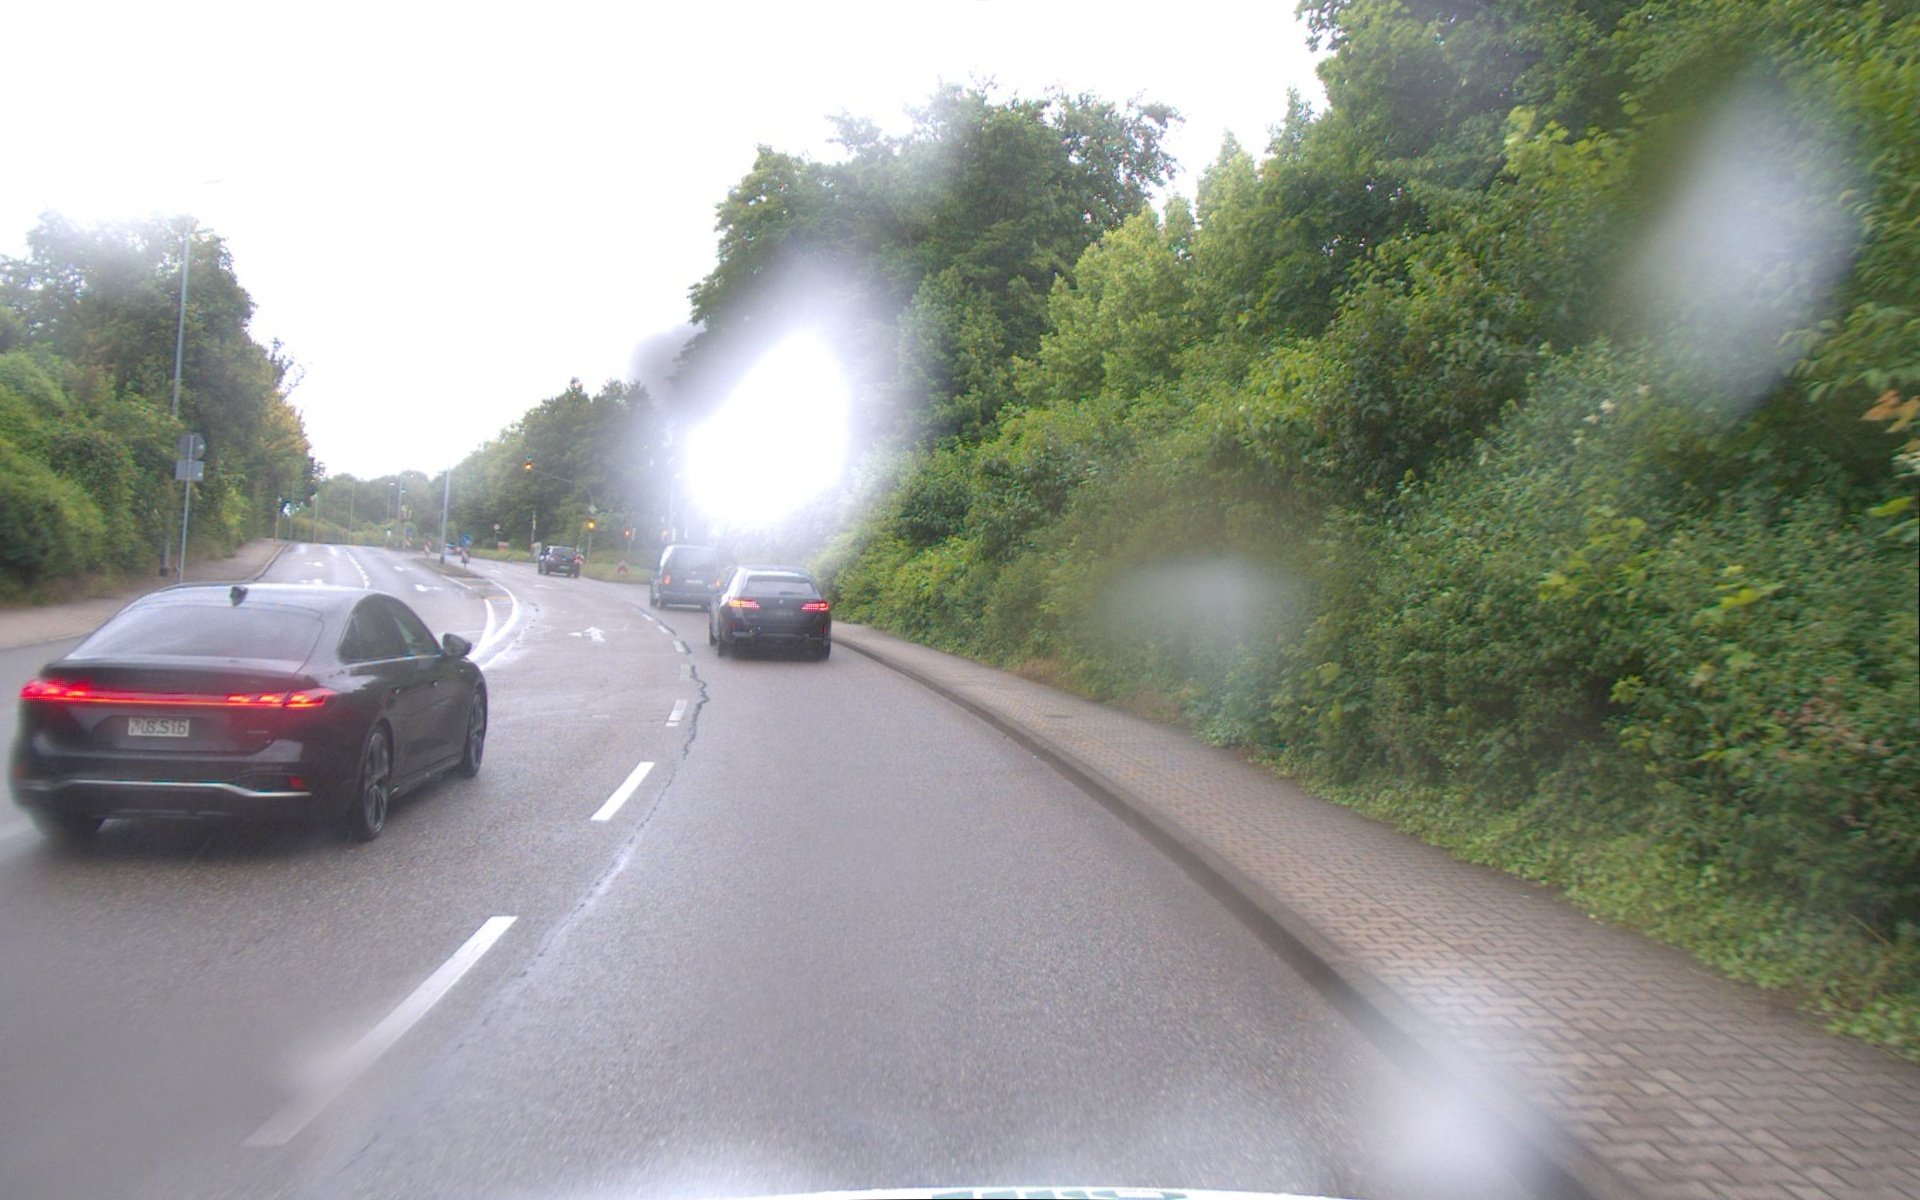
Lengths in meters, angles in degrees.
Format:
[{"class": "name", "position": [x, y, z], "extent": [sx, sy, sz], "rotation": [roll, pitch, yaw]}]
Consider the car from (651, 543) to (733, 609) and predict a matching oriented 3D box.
[{"class": "car", "position": [-7.801, -0.691, 47.967], "extent": [1.960, 1.779, 3.985], "rotation": [1, 1, -15]}]

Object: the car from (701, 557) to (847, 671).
[{"class": "car", "position": [-3.290, 0.171, 28.498], "extent": [1.959, 1.613, 4.650], "rotation": [3, 2, -13]}]

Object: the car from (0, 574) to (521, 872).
[{"class": "car", "position": [-4.226, 0.580, 10.618], "extent": [1.868, 1.422, 4.852], "rotation": [2, 1, -5]}]

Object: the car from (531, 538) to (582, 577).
[{"class": "car", "position": [-20.428, -2.137, 83.642], "extent": [1.826, 1.691, 3.971], "rotation": [4, -2, -23]}]
